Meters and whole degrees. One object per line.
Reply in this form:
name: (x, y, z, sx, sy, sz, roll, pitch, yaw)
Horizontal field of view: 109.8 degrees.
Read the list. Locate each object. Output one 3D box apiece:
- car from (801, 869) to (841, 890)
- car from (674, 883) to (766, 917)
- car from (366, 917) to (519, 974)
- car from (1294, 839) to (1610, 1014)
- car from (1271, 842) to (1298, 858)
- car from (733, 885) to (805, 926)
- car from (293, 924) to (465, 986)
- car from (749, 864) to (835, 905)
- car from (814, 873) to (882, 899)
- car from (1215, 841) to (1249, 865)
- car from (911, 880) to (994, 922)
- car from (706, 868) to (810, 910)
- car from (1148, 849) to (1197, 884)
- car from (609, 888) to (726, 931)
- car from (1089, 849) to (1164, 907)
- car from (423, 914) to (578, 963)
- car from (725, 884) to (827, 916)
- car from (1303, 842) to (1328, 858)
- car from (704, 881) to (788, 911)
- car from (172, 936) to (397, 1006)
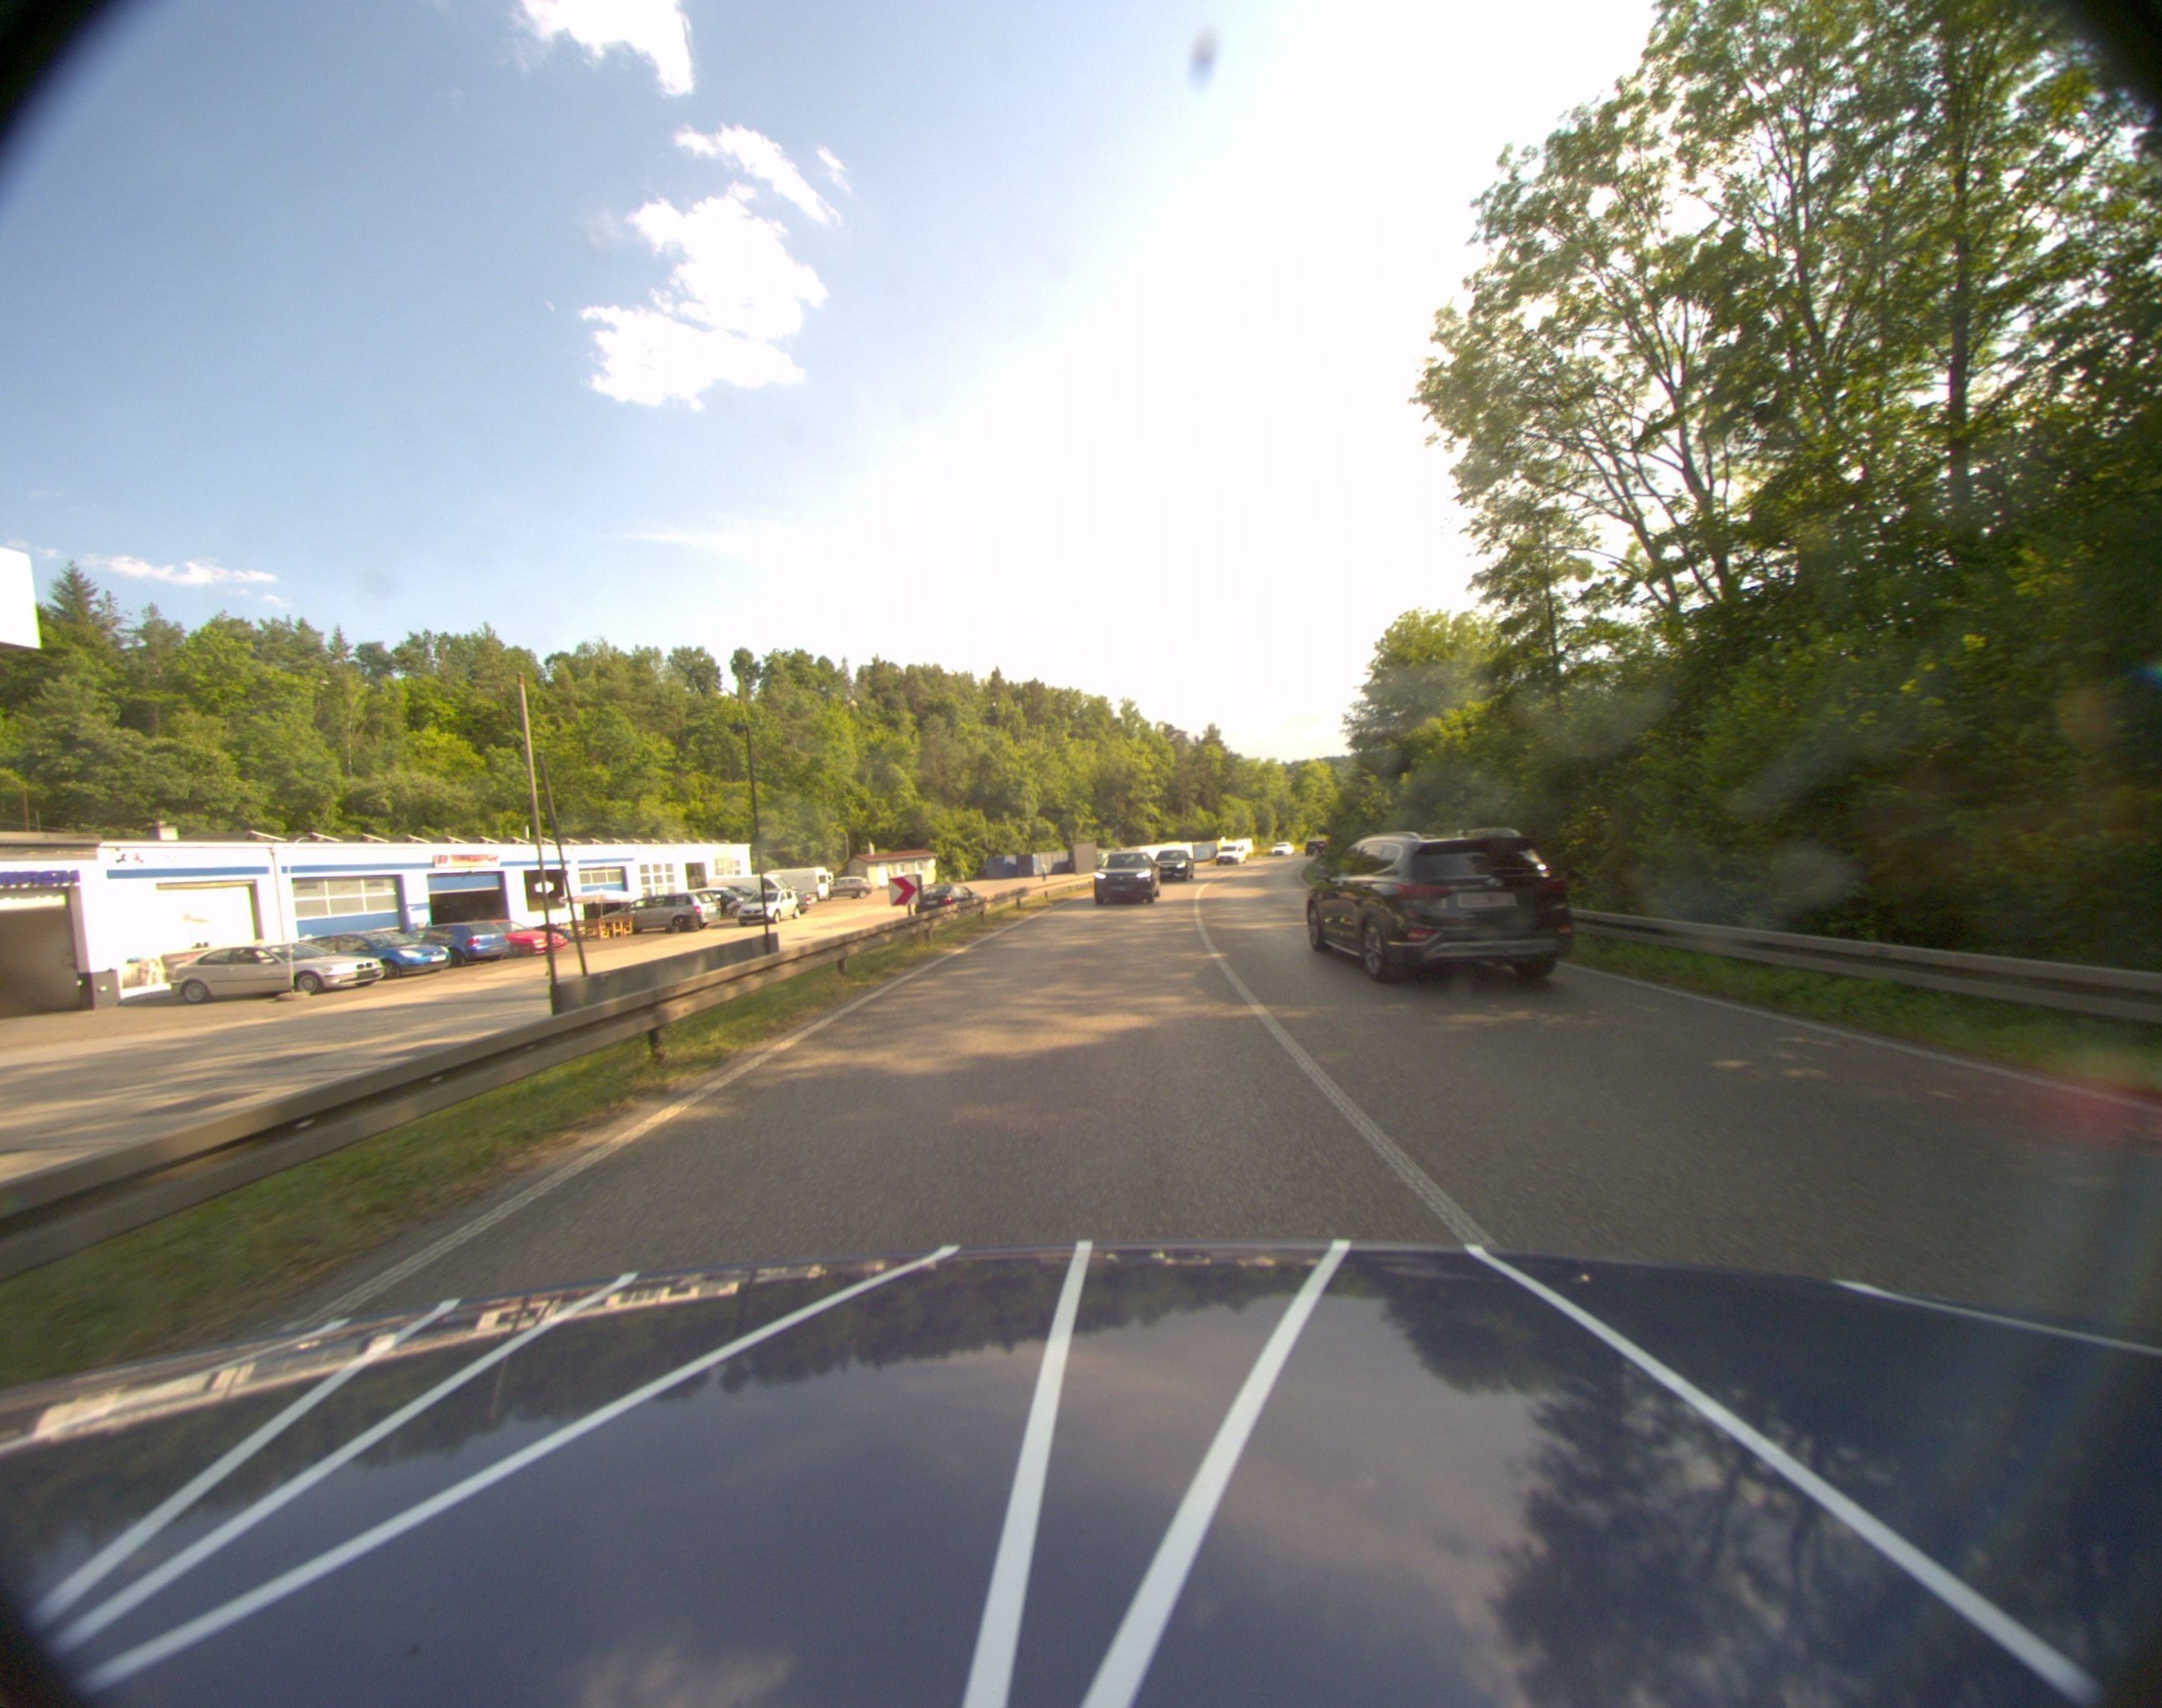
car: (-27.133, 2.662, 79.178, 4.548, 2.002, 2.003, -4, 1, 45)
car: (-20.637, 2.600, 43.525, 4.250, 1.601, 1.895, -3, 1, 2)
car: (-20.987, 2.992, 25.074, 3.552, 1.437, 1.734, -4, 0, 2)
car: (4.207, 0.719, 9.591, 1.872, 1.643, 4.550, -2, 0, 2)
car: (22.474, -0.475, 83.827, 1.894, 1.437, 4.482, -4, 0, 26)
car: (-14.899, 2.429, 36.492, 1.795, 1.587, 3.988, -3, 0, -1)
car: (-21.014, 3.003, 22.845, 3.558, 1.398, 1.691, -4, 0, 2)
car: (-19.759, 2.055, 52.071, 4.920, 2.435, 2.208, -3, 1, 0)
car: (-17.352, 2.344, 56.612, 4.413, 1.659, 1.938, -2, -1, -38)
car: (12.529, -0.124, 62.765, 1.865, 1.710, 4.769, -4, 0, 22)
car: (-5.198, 1.876, 31.275, 1.827, 1.345, 4.276, -4, 0, 12)
car: (-20.437, 2.181, 48.283, 5.486, 2.261, 2.295, -3, 1, 2)
car: (4.774, 0.598, 39.076, 1.846, 1.561, 4.261, -2, 1, 15)
car: (-19.039, 2.539, 35.111, 4.258, 1.719, 1.892, -2, 1, 0)
car: (1.584, 0.700, 24.842, 1.858, 1.631, 4.444, -1, 1, 11)
car: (-20.699, 2.988, 27.191, 4.076, 1.340, 1.895, -3, 0, 2)
car: (-16.555, 2.486, 41.391, 4.731, 1.425, 1.957, -2, 1, 0)
car: (24.439, -0.468, 79.069, 1.869, 1.580, 4.255, -1, 1, 25)
car: (-20.243, 2.523, 45.974, 4.168, 1.601, 1.925, -2, 1, 2)
car: (-21.106, 3.075, 20.260, 3.967, 1.347, 1.776, -3, 1, -2)
